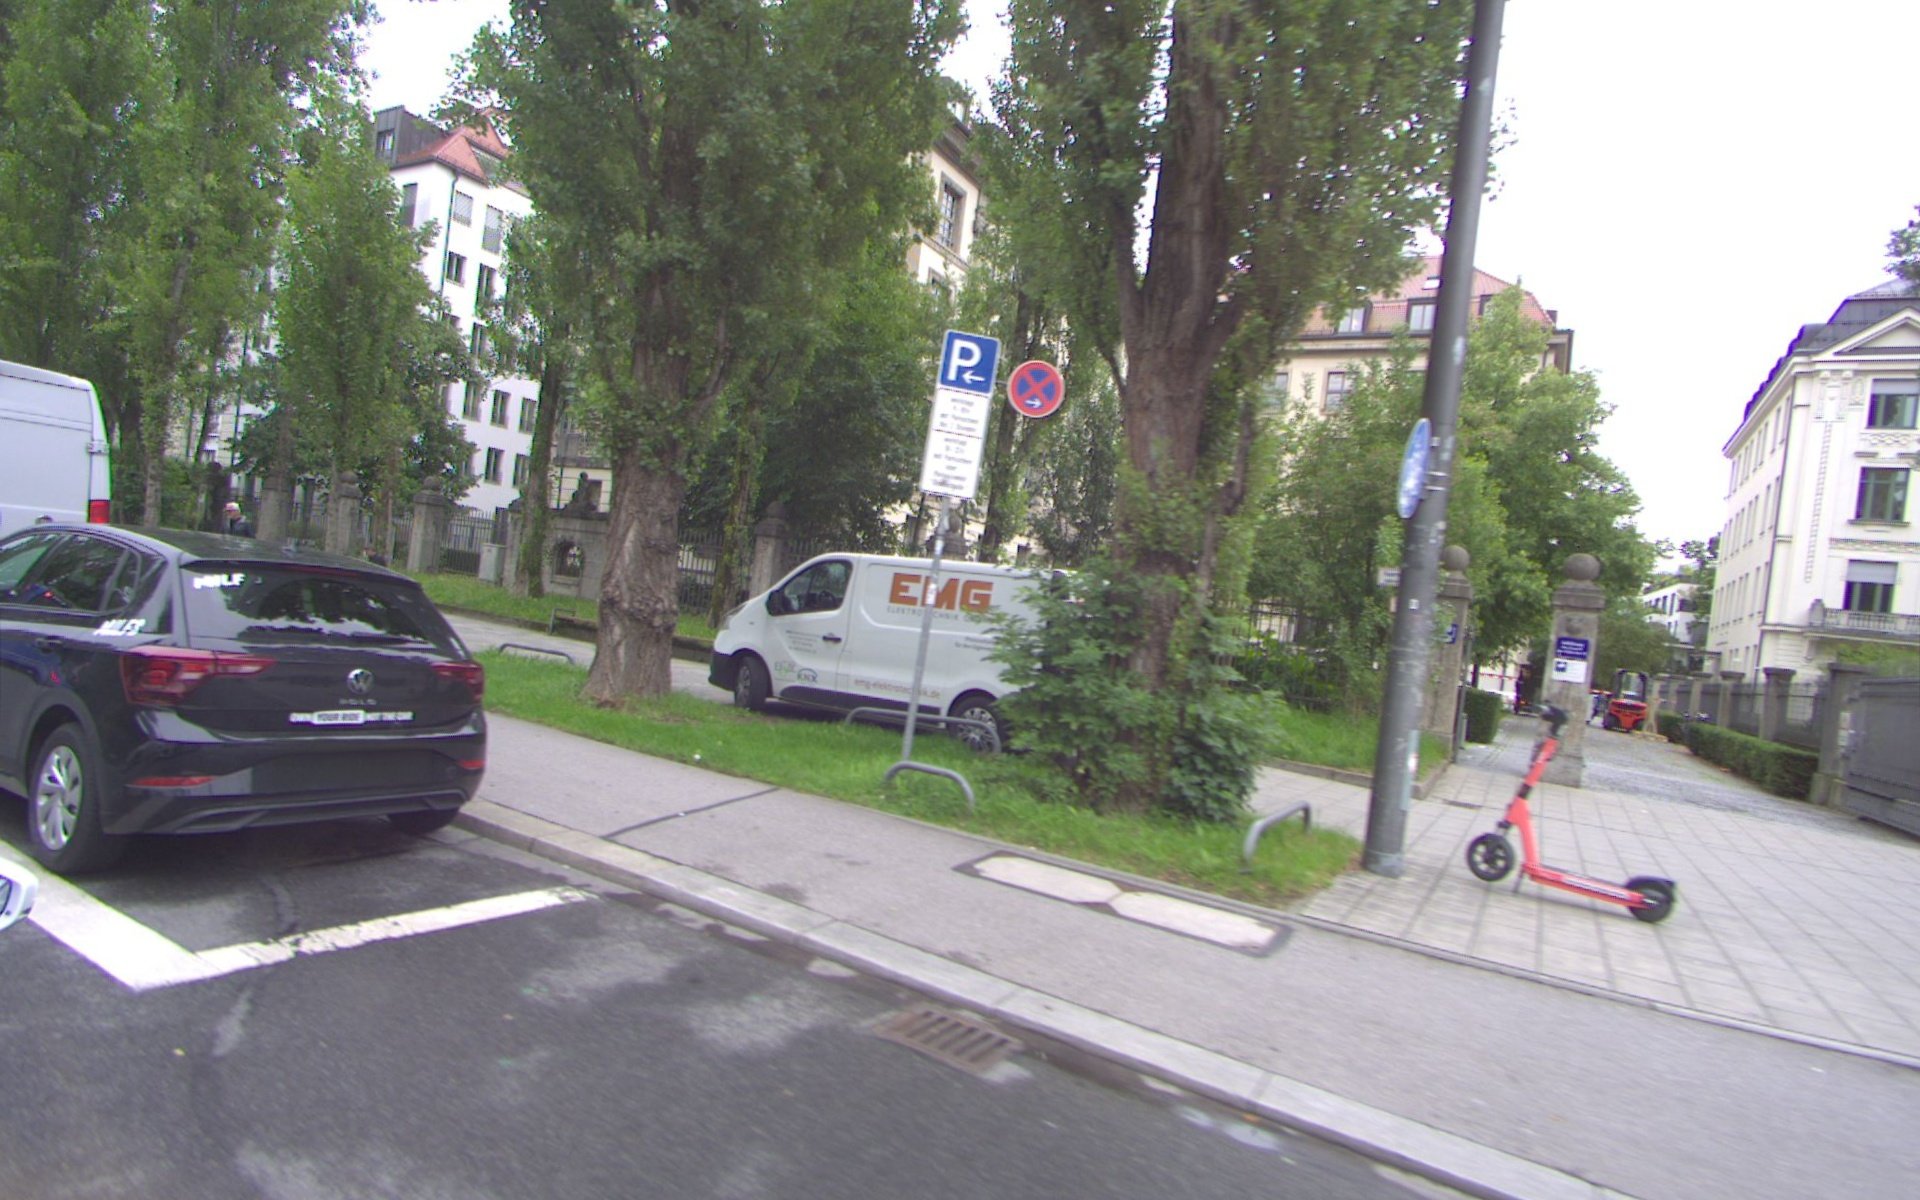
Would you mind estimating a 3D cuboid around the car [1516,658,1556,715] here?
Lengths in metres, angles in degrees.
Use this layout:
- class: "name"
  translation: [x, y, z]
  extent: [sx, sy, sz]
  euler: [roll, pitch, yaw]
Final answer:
- class: "car"
  translation: [22.904, 3.416, 40.006]
  extent: [1.141, 2.036, 3.498]
  euler: [7, 0, 30]

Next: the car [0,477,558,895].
- class: "car"
  translation: [-4.282, 0.237, 5.418]
  extent: [3.933, 1.466, 1.759]
  euler: [7, -2, 31]

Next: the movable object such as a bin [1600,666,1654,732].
- class: "movable object such as a bin"
  translation: [24.933, 3.683, 37.678]
  extent: [1.410, 2.167, 3.672]
  euler: [7, 0, 33]

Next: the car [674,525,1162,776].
- class: "car"
  translation: [-0.586, 0.428, 11.186]
  extent: [4.999, 1.970, 1.996]
  euler: [7, 0, 32]

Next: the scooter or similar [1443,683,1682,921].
- class: "scooter or similar"
  translation: [3.866, 1.258, 6.519]
  extent: [1.166, 1.281, 0.337]
  euler: [7, 1, 32]

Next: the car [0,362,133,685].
- class: "car"
  translation: [-10.342, -0.941, 9.243]
  extent: [6.178, 2.508, 2.078]
  euler: [7, -1, 31]

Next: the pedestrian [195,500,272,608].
- class: "pedestrian"
  translation: [-13.320, -0.830, 18.449]
  extent: [0.771, 1.862, 0.656]
  euler: [7, 1, 17]

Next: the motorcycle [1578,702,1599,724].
- class: "motorcycle"
  translation: [24.709, 4.429, 39.535]
  extent: [0.613, 0.744, 1.563]
  euler: [7, 0, 33]
